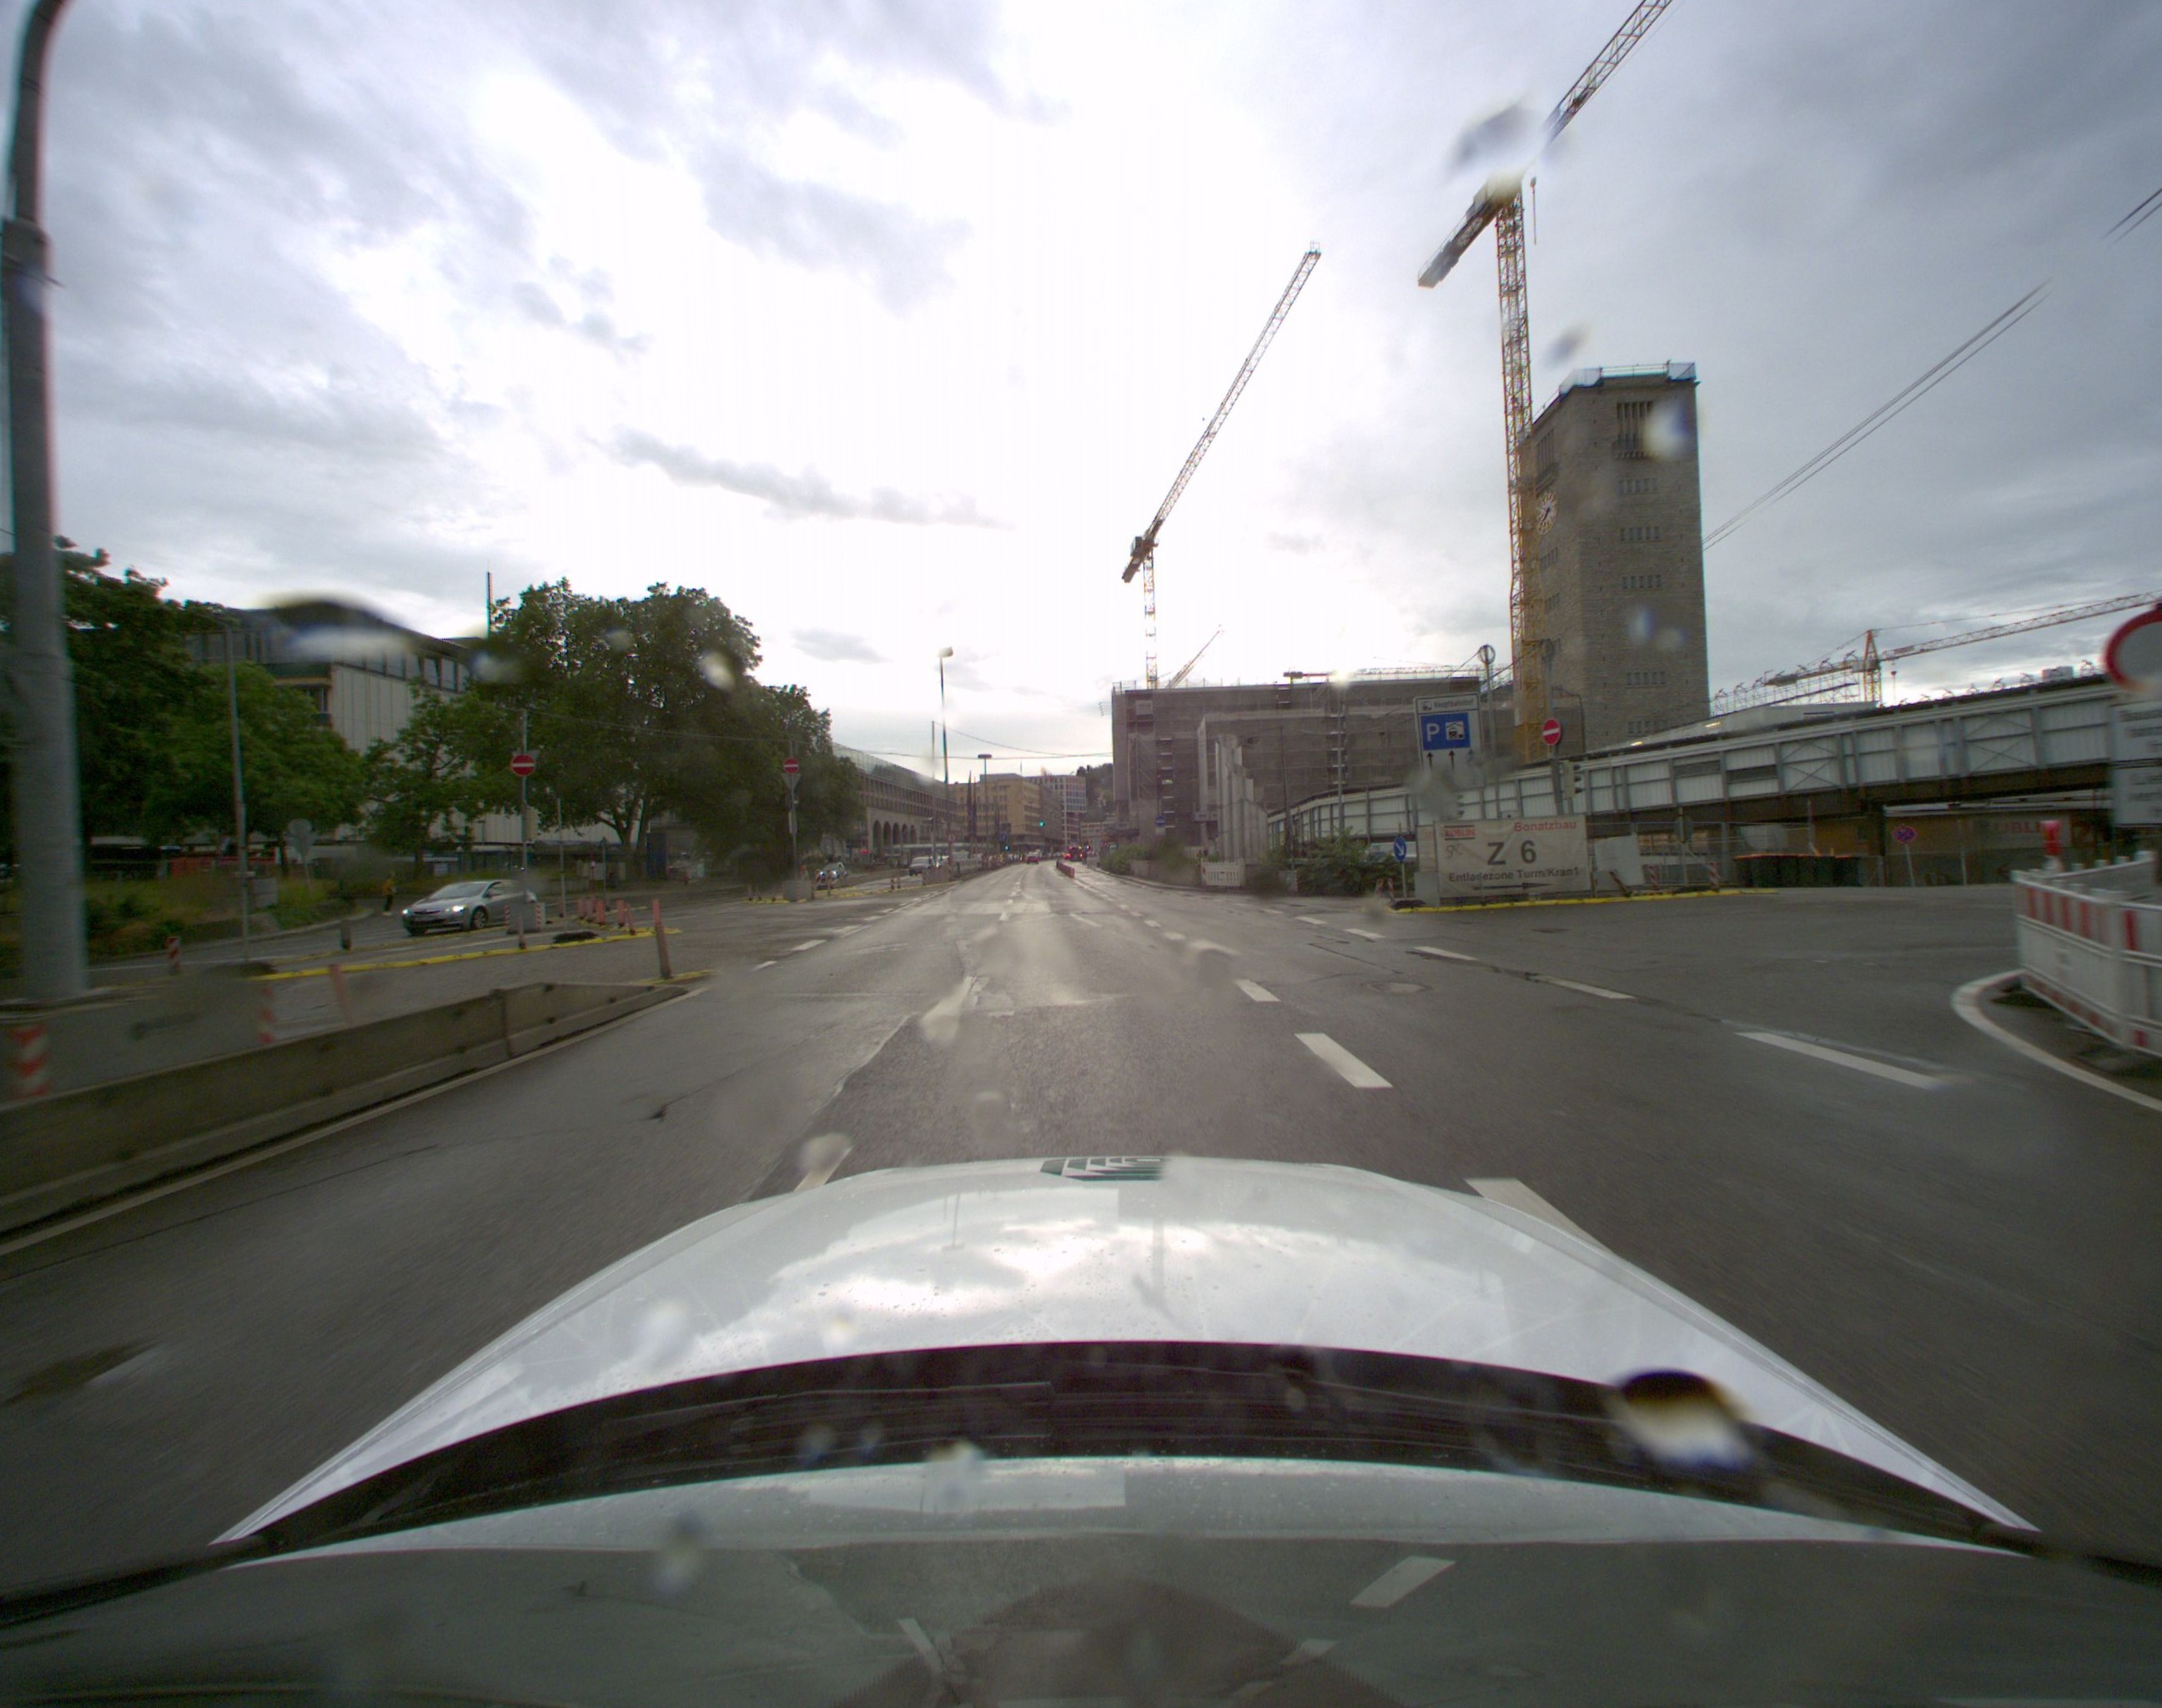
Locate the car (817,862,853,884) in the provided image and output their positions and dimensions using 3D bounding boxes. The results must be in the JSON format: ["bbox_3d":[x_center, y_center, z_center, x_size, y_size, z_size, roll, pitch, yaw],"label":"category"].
[{"bbox_3d":[-19.952,1.570,66.162,1.899,1.528,4.169,-4,-2,-5],"label":"car"}]

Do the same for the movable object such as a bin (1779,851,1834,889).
[{"bbox_3d":[22.810,0.509,25.620,0.986,1.102,0.731,-4,-3,6],"label":"movable object such as a bin"}]

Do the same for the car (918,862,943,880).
[{"bbox_3d":[-14.479,1.652,78.679,1.899,1.528,4.169,-4,-2,-5],"label":"car"}]

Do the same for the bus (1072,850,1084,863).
[{"bbox_3d":[-0.653,0.447,167.227,1.985,2.432,4.002,-4,-2,3],"label":"bus"}]

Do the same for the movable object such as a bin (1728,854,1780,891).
[{"bbox_3d":[21.833,0.611,26.440,0.986,1.102,0.731,-4,-3,6],"label":"movable object such as a bin"}]

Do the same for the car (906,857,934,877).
[{"bbox_3d":[-14.384,1.171,72.993,1.899,1.528,4.169,-4,-2,-5],"label":"car"}]

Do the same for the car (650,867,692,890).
[{"bbox_3d":[-33.494,2.022,66.508,1.919,1.528,3.955,-1,-3,-44],"label":"car"}]

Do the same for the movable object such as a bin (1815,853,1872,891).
[{"bbox_3d":[23.898,0.572,25.538,0.986,1.102,0.731,-4,-3,6],"label":"movable object such as a bin"}]

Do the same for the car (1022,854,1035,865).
[{"bbox_3d":[-8.588,0.970,132.152,1.899,1.528,4.169,-4,-2,-5],"label":"car"}]

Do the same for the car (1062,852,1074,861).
[{"bbox_3d":[-3.059,0.614,192.837,1.983,2.014,4.007,-4,-2,7],"label":"car"}]

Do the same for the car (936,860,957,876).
[{"bbox_3d":[-14.543,1.515,88.187,1.899,1.528,4.169,-4,-2,-5],"label":"car"}]

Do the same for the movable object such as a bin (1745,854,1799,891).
[{"bbox_3d":[21.746,0.583,25.643,0.986,1.102,0.748,-4,-3,6],"label":"movable object such as a bin"}]

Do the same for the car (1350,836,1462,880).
[{"bbox_3d":[16.747,0.186,42.079,2.368,2.132,4.818,-1,1,-45],"label":"car"}]

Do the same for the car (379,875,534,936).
[{"bbox_3d":[-18.364,1.443,24.205,1.765,1.463,4.164,-4,0,-9],"label":"car"}]

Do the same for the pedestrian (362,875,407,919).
[{"bbox_3d":[-26.058,1.601,30.483,0.583,1.557,1.118,-4,-3,14],"label":"pedestrian"}]
